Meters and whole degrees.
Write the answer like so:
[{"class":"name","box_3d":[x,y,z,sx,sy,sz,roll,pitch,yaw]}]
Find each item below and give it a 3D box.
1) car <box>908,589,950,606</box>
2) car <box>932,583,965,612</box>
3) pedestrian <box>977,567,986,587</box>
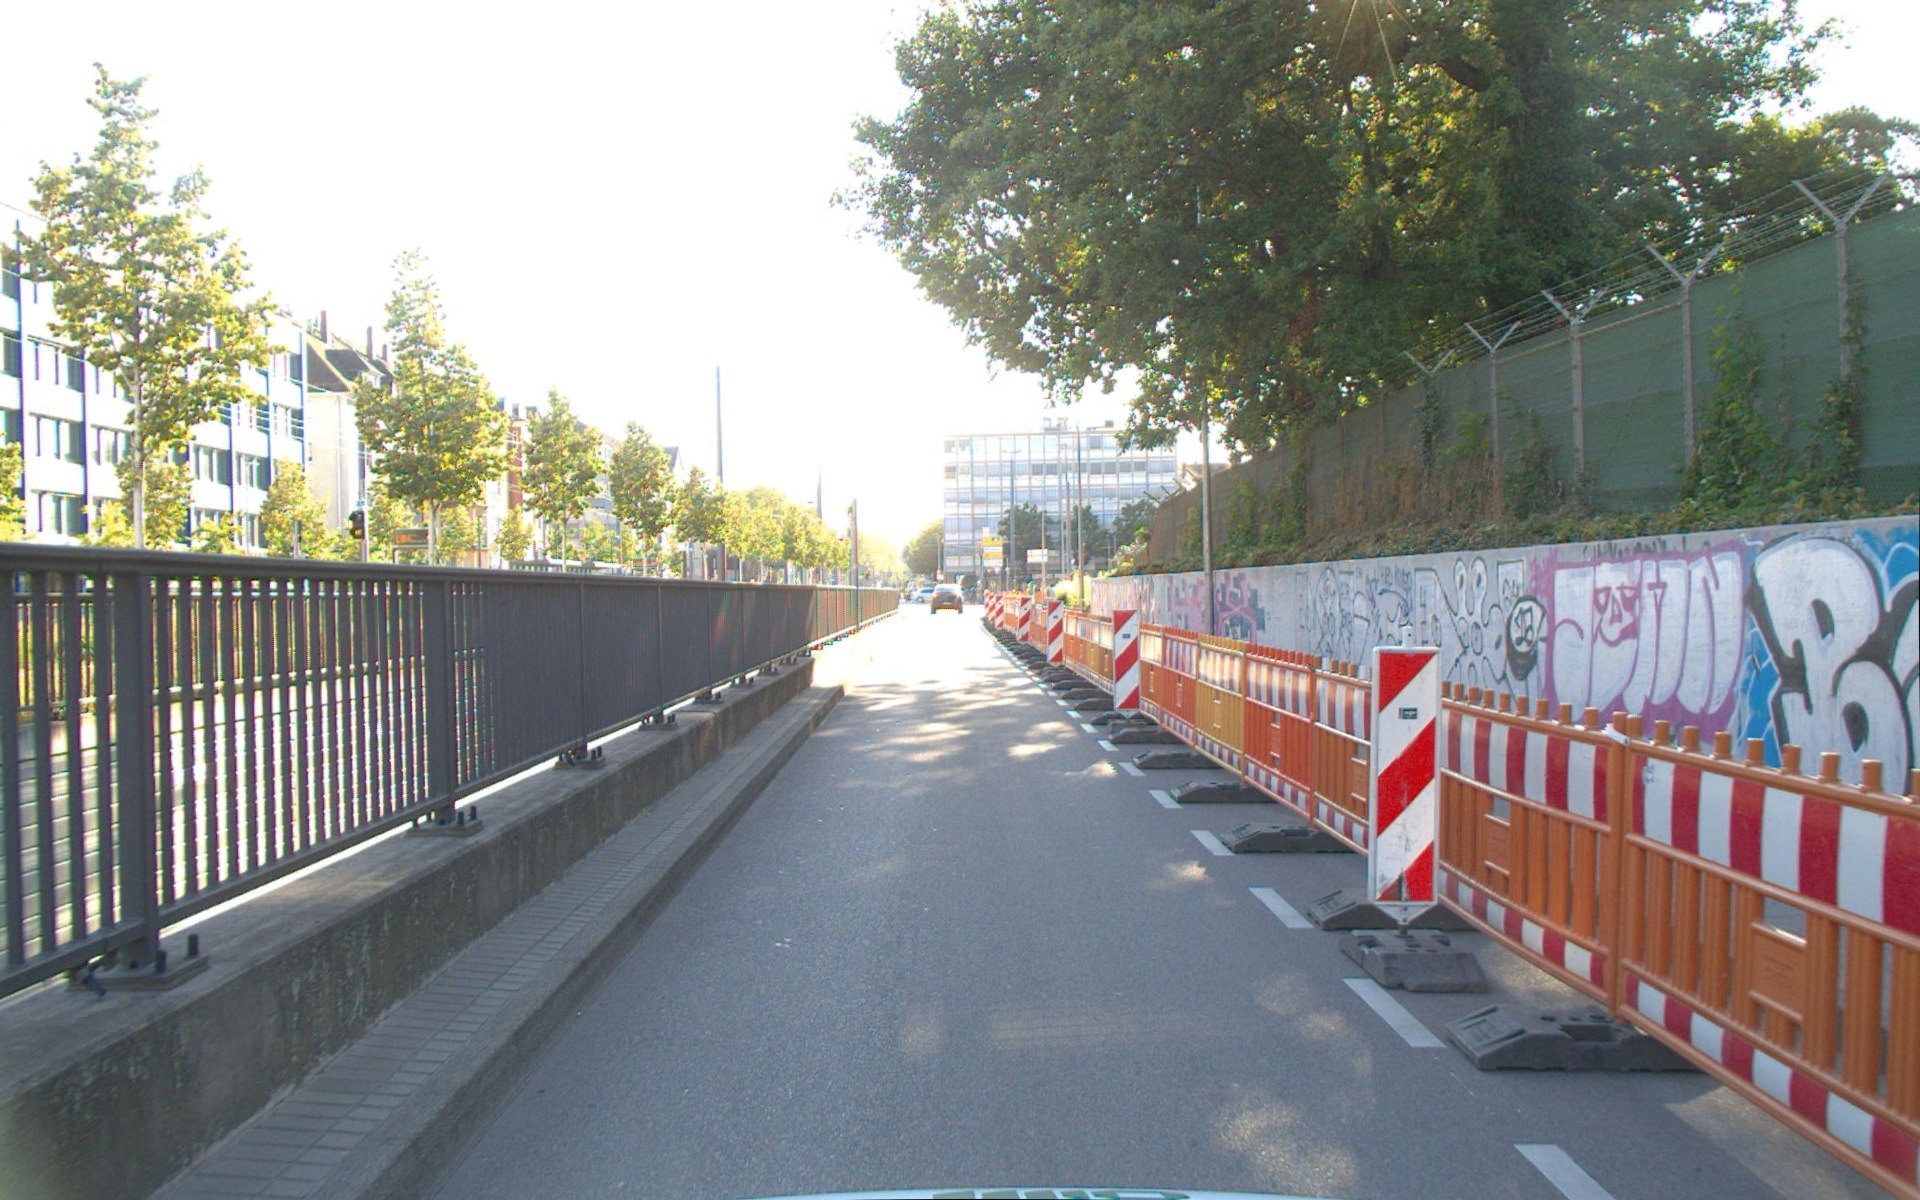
[{"class":"car","box_3d":[-3.134,-0.229,166.619,3.902,1.669,2.001,0,-1,8]},{"class":"car","box_3d":[-0.667,-0.147,101.280,1.964,1.688,4.000,1,0,0]},{"class":"pedestrian","box_3d":[2.373,-2.569,183.515,0.873,2.149,0.718,-1,1,4]}]
